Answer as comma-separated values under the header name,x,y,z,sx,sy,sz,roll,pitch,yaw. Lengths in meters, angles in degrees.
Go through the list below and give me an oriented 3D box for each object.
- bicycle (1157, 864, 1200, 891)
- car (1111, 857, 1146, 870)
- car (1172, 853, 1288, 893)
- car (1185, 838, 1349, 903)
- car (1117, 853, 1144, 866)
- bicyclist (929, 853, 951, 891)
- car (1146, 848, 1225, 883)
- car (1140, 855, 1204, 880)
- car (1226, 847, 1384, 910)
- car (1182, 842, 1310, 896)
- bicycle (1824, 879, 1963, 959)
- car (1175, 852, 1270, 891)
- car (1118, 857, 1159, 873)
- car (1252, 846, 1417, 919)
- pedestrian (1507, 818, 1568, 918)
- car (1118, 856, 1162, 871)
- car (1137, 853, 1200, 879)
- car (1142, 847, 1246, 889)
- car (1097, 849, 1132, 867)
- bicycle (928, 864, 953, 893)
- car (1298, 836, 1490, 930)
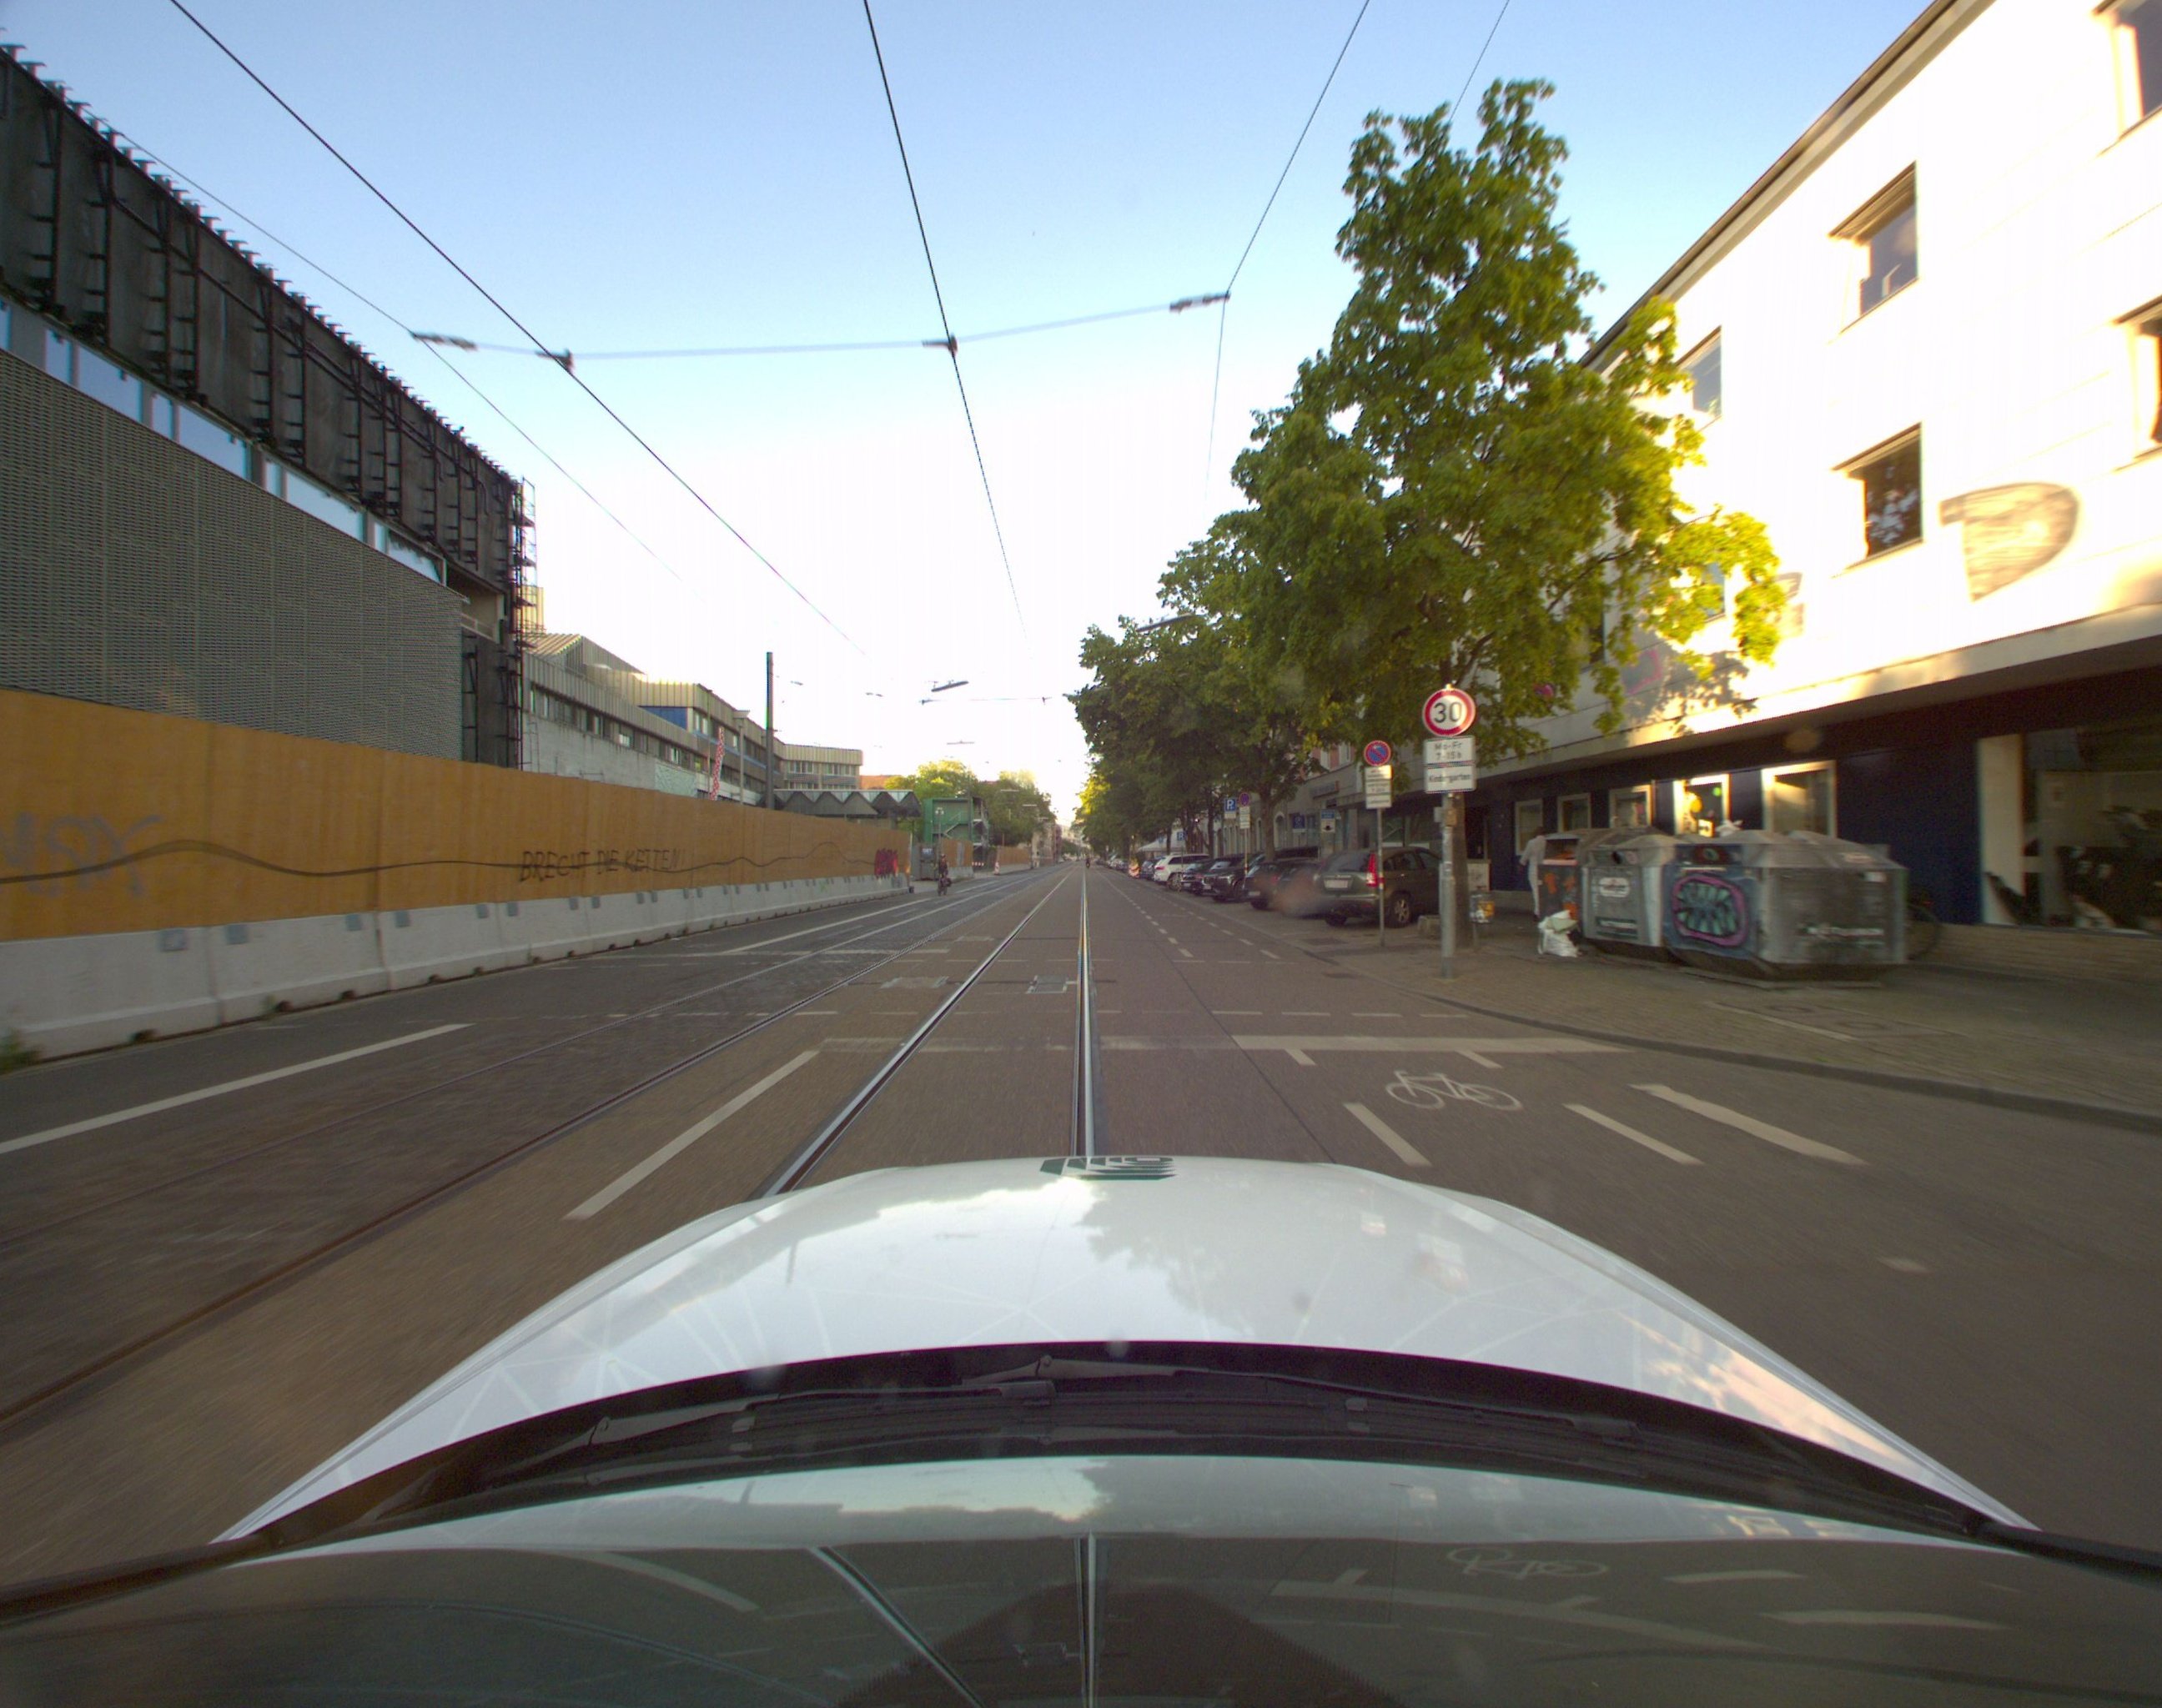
name,x,y,z,sx,sy,sz,roll,pitch,yaw
bicycle,4.494,1.071,37.444,1.838,1.102,0.495,-4,0,-14
car,6.201,1.240,106.889,4.252,1.549,2.012,-2,-1,-11
car,6.012,0.741,32.857,4.229,1.426,1.961,-1,0,-22
car,6.354,0.532,27.911,4.978,1.826,2.194,-4,0,-19
car,7.321,0.826,120.329,3.937,1.620,1.921,-3,-1,0
bicyclist,-6.338,0.798,36.573,0.765,1.665,1.018,-1,0,0
car,6.197,0.677,48.215,4.172,1.806,1.989,-3,-1,-29
car,6.003,0.887,53.653,3.792,1.408,1.691,-3,-1,-26
car,6.537,0.687,23.746,4.179,1.465,1.953,-4,0,-28
car,6.124,0.544,30.320,4.225,1.649,1.964,-4,0,-19
bicycle,10.166,0.784,10.249,0.340,0.882,1.325,-4,0,-2
car,6.193,0.747,35.684,3.765,1.426,1.713,-4,0,-25
car,6.305,1.168,89.481,4.128,1.470,1.812,-4,0,-19
car,6.497,0.678,20.784,3.907,1.502,1.796,-4,0,-31
pedestrian,9.409,0.281,16.820,0.689,1.985,0.785,-3,-1,0
car,6.117,0.984,84.653,4.174,1.426,1.811,0,0,-19
car,6.023,0.835,56.244,3.981,1.553,1.691,-3,-1,-26
car,5.442,0.653,39.576,4.640,1.688,2.005,-3,0,-4
car,5.320,0.618,128.981,5.107,2.642,2.010,-2,-1,-17
bicycle,-6.318,1.101,36.586,0.765,1.228,1.936,-1,0,0
car,6.911,0.576,17.840,4.186,1.664,1.822,-4,0,-35
